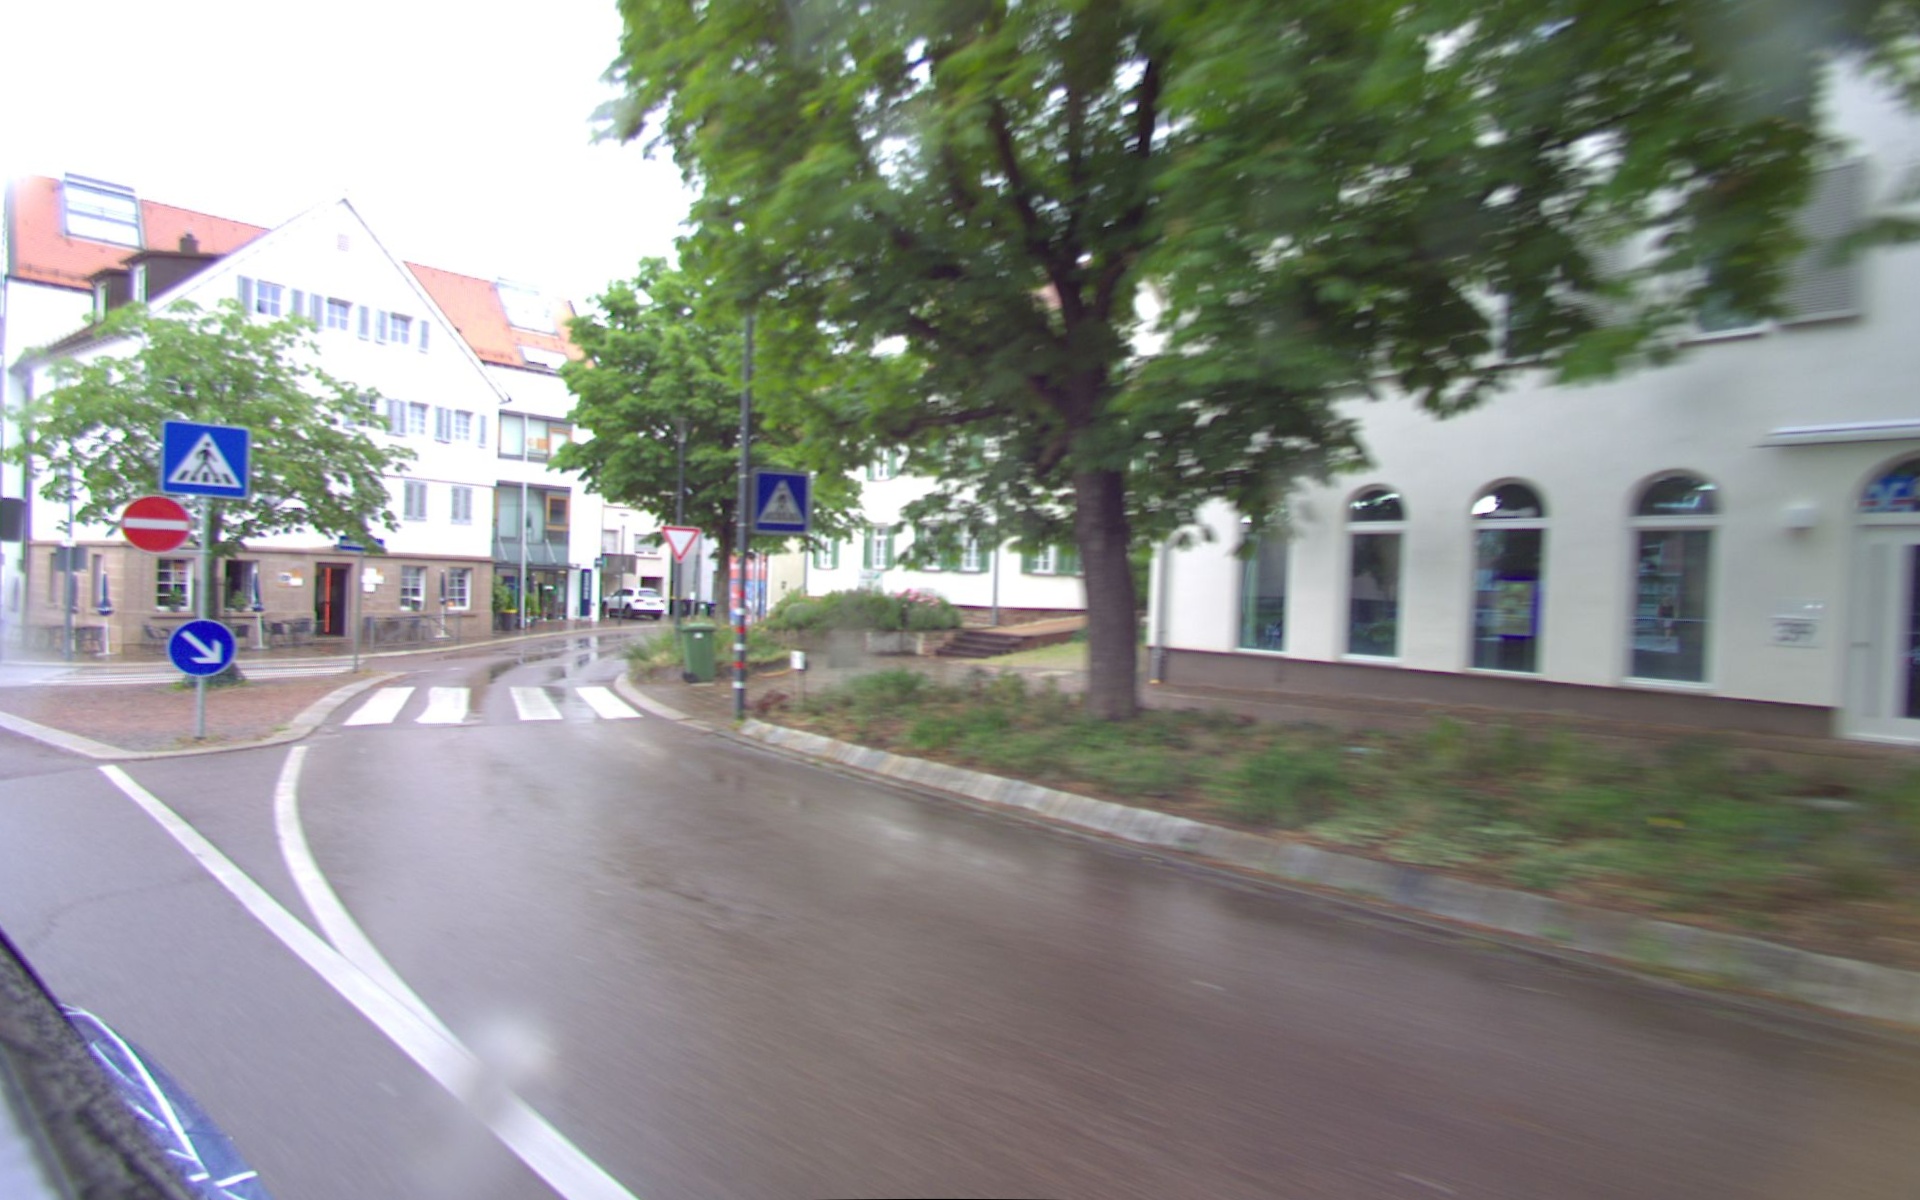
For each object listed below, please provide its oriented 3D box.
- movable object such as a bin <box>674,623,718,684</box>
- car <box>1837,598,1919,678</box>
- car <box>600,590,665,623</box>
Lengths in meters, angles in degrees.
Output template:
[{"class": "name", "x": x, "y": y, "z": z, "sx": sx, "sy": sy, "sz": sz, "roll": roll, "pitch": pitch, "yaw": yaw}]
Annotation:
[{"class": "movable object such as a bin", "x": -4.861, "y": 0.978, "z": 18.636, "sx": 0.625, "sy": 1.067, "sz": 0.700, "roll": 2, "pitch": -1, "yaw": -27}, {"class": "car", "x": 19.149, "y": 0.739, "z": 19.162, "sx": 3.632, "sy": 1.353, "sz": 1.598, "roll": 2, "pitch": 6, "yaw": 35}, {"class": "car", "x": -17.522, "y": 0.316, "z": 54.057, "sx": 1.803, "sy": 1.634, "sz": 3.893, "roll": 3, "pitch": -1, "yaw": -43}]
